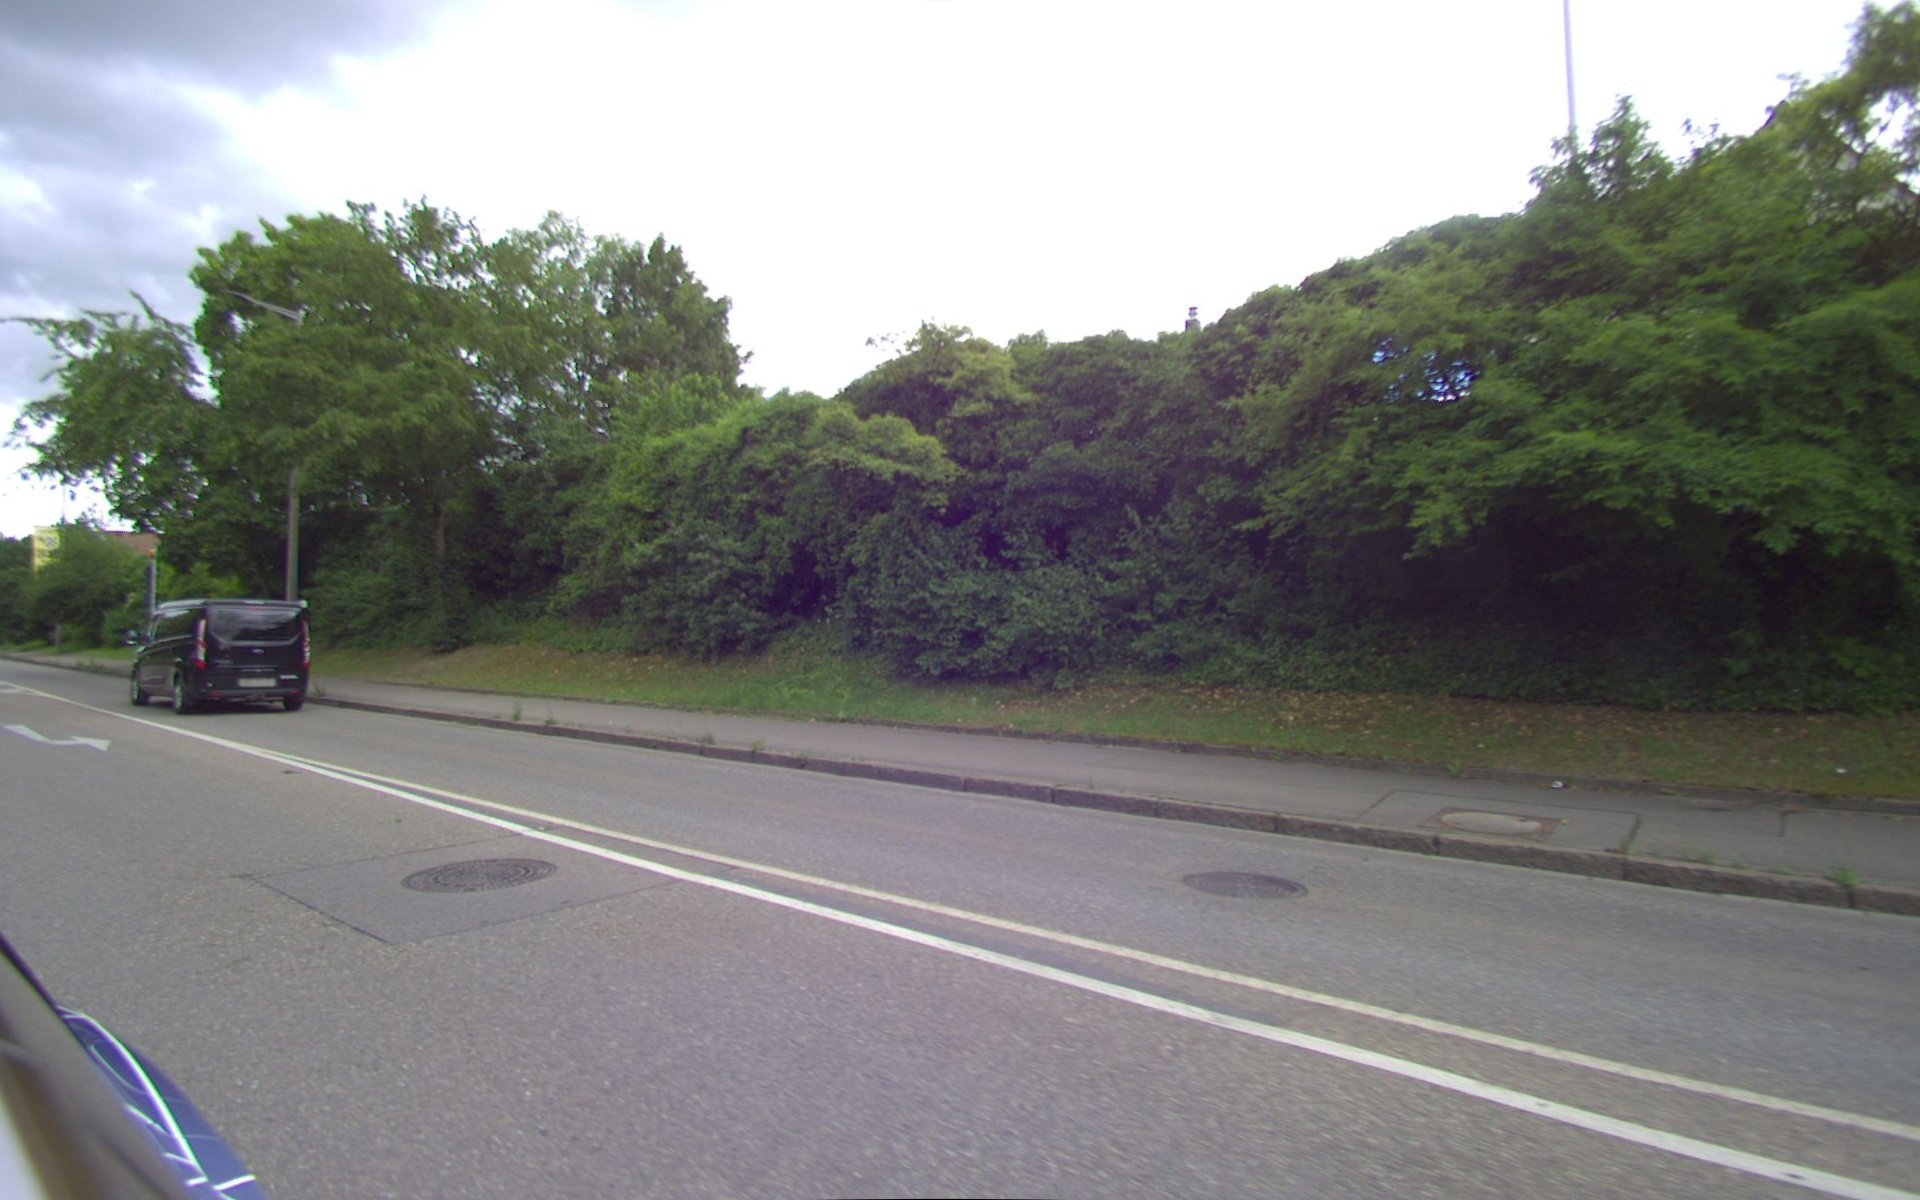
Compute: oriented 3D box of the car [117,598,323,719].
[{"bbox_3d":[-14.471,1.097,19.678,5.110,2.052,1.974,-2,-4,39],"label":"car"}]
